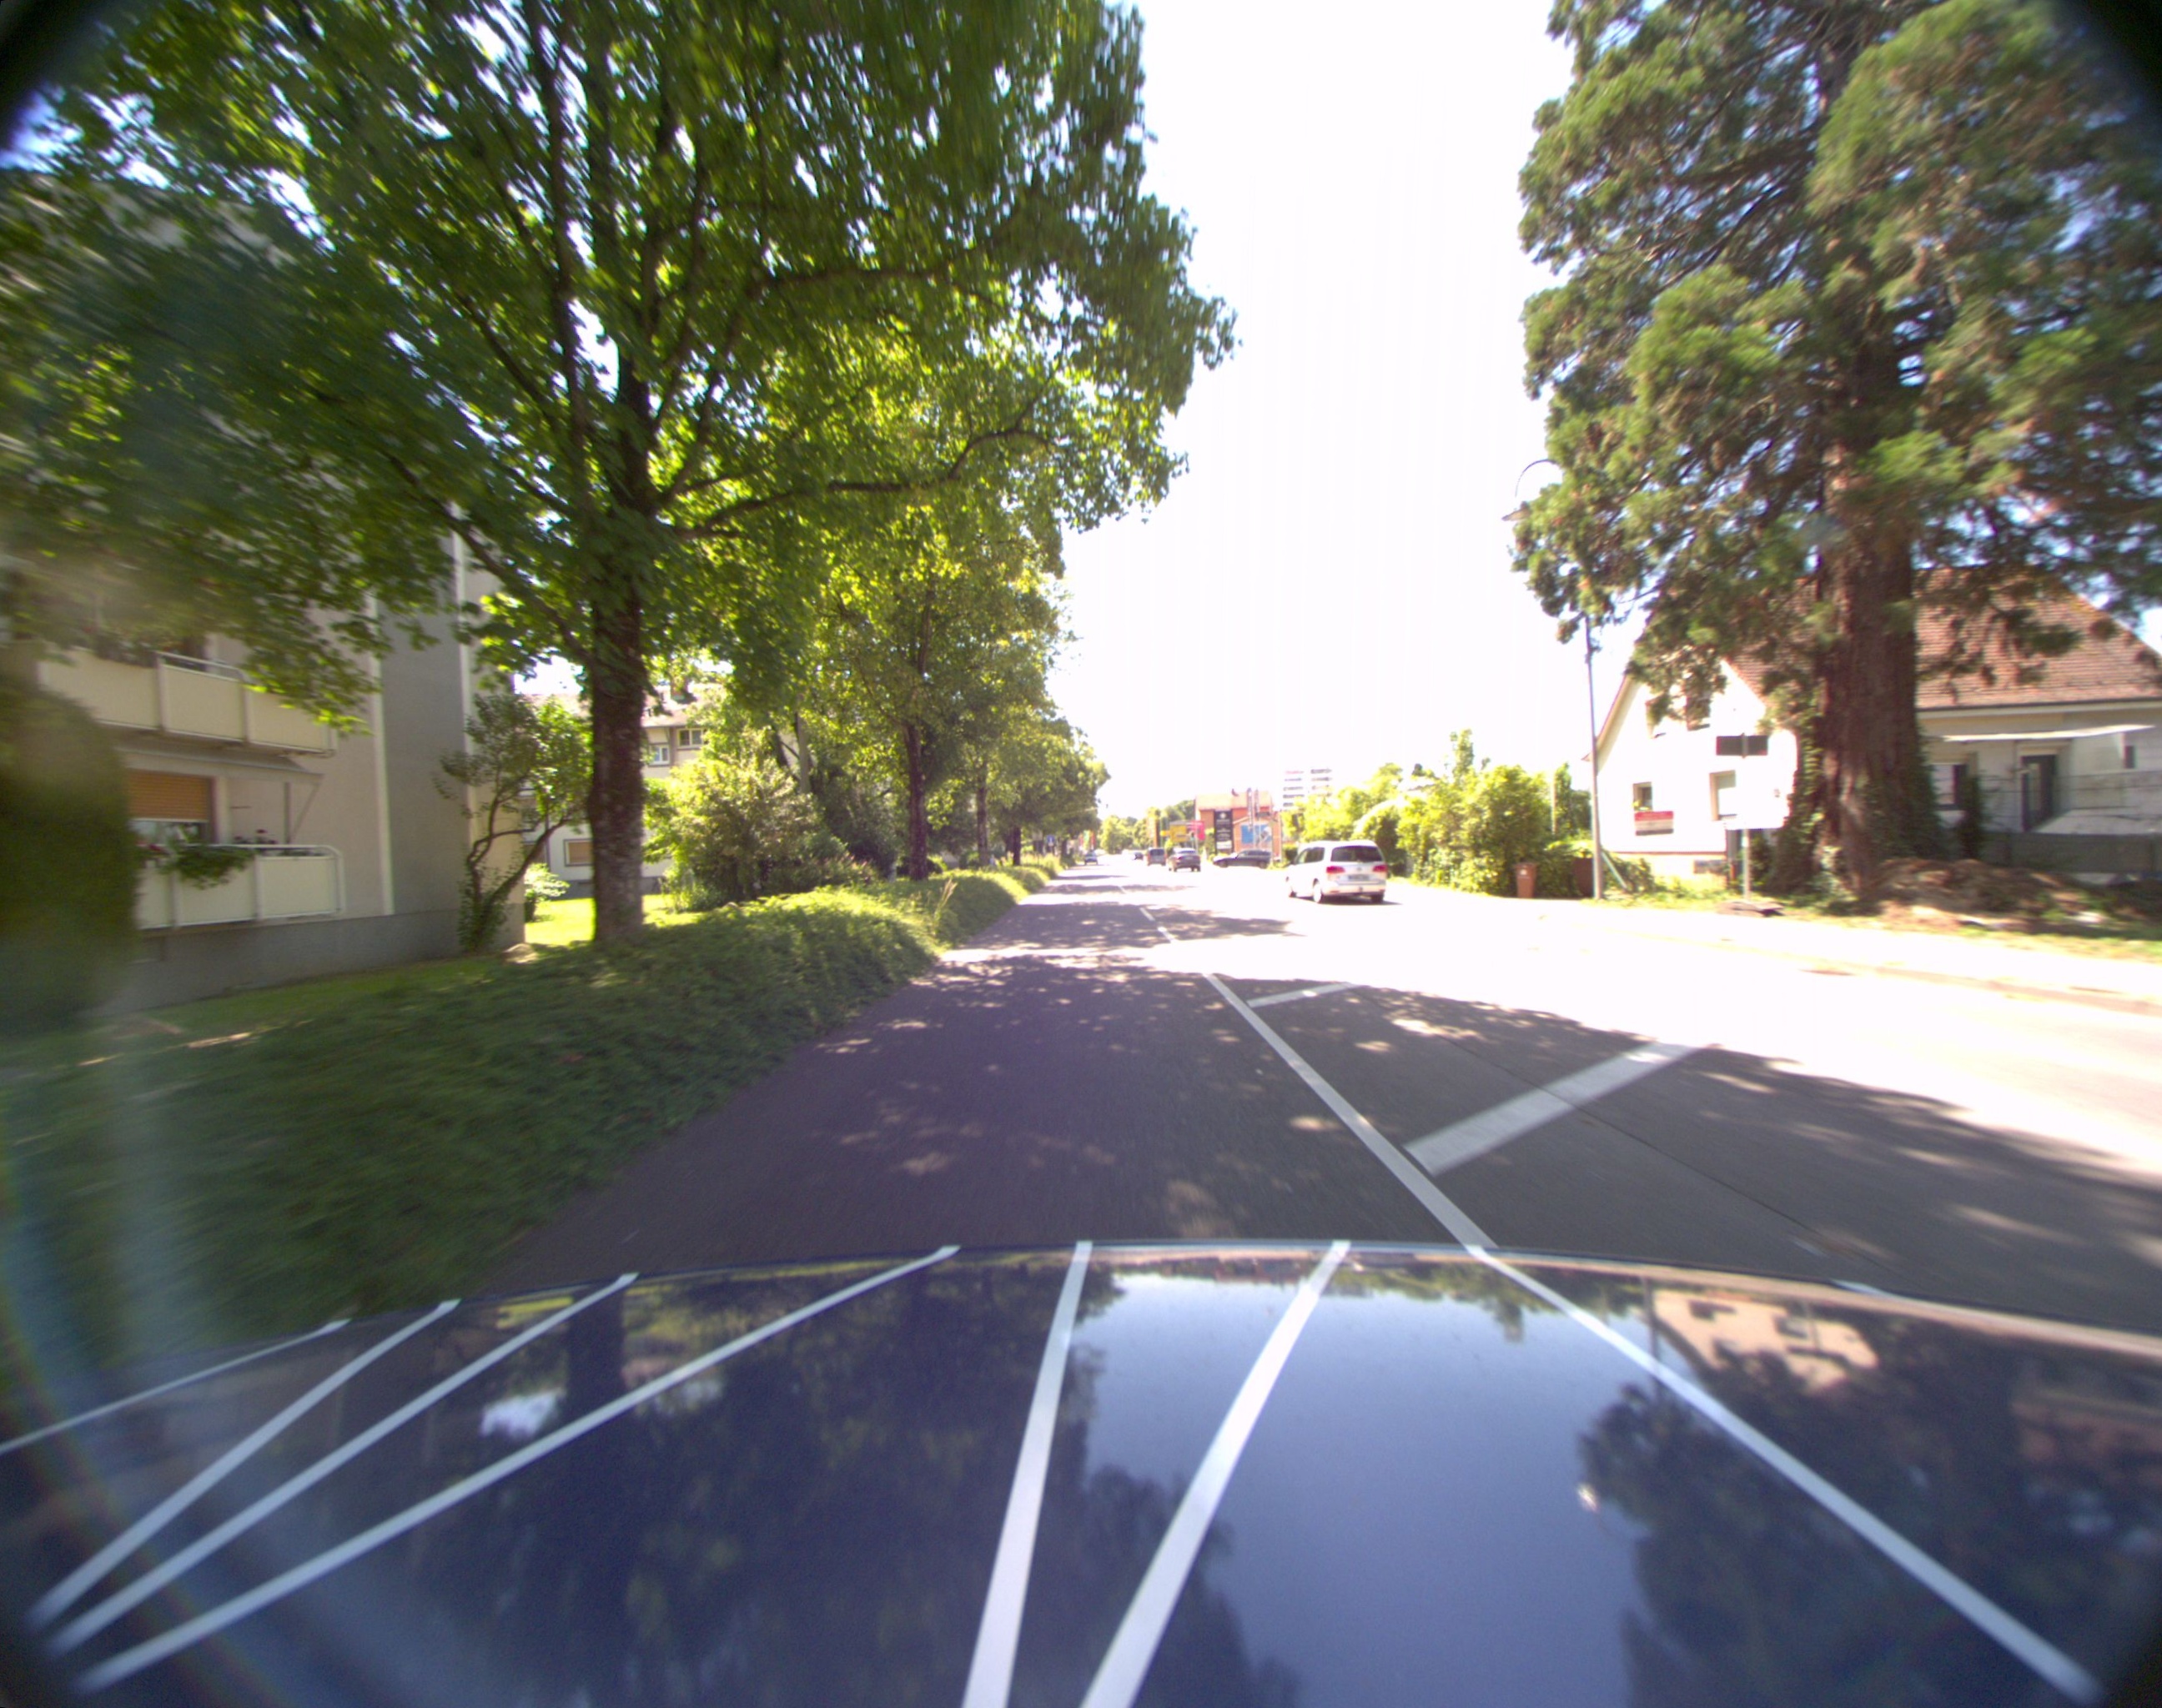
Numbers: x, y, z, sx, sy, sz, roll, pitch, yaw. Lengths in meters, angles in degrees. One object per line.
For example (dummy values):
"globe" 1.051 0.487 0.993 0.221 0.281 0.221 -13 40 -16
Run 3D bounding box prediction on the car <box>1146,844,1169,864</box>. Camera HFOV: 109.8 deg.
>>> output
"car" 7.239 -0.020 72.315 1.883 1.731 4.321 -2 1 2

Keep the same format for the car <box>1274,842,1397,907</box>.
"car" 6.991 0.489 21.411 1.788 1.635 4.688 -1 1 -1

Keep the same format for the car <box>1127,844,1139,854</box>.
"car" 9.001 -0.854 130.743 1.883 1.623 4.321 -2 1 2

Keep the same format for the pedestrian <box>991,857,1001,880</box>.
"pedestrian" -7.249 1.218 64.915 0.677 1.915 0.621 -3 1 0

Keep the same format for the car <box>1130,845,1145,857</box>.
"car" 8.110 -0.491 108.667 1.883 1.623 4.321 -2 1 2

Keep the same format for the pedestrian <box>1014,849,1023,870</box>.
"pedestrian" -5.760 0.518 70.358 0.677 1.915 0.621 -3 1 0

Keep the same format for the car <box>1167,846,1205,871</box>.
"car" 7.019 0.258 51.071 1.884 1.540 4.320 -2 1 -1

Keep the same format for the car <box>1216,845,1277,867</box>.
"car" 12.738 0.148 58.368 4.311 1.540 1.887 -2 1 19

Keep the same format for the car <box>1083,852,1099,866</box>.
"car" 1.288 0.561 93.712 1.883 1.623 4.321 -2 1 2
